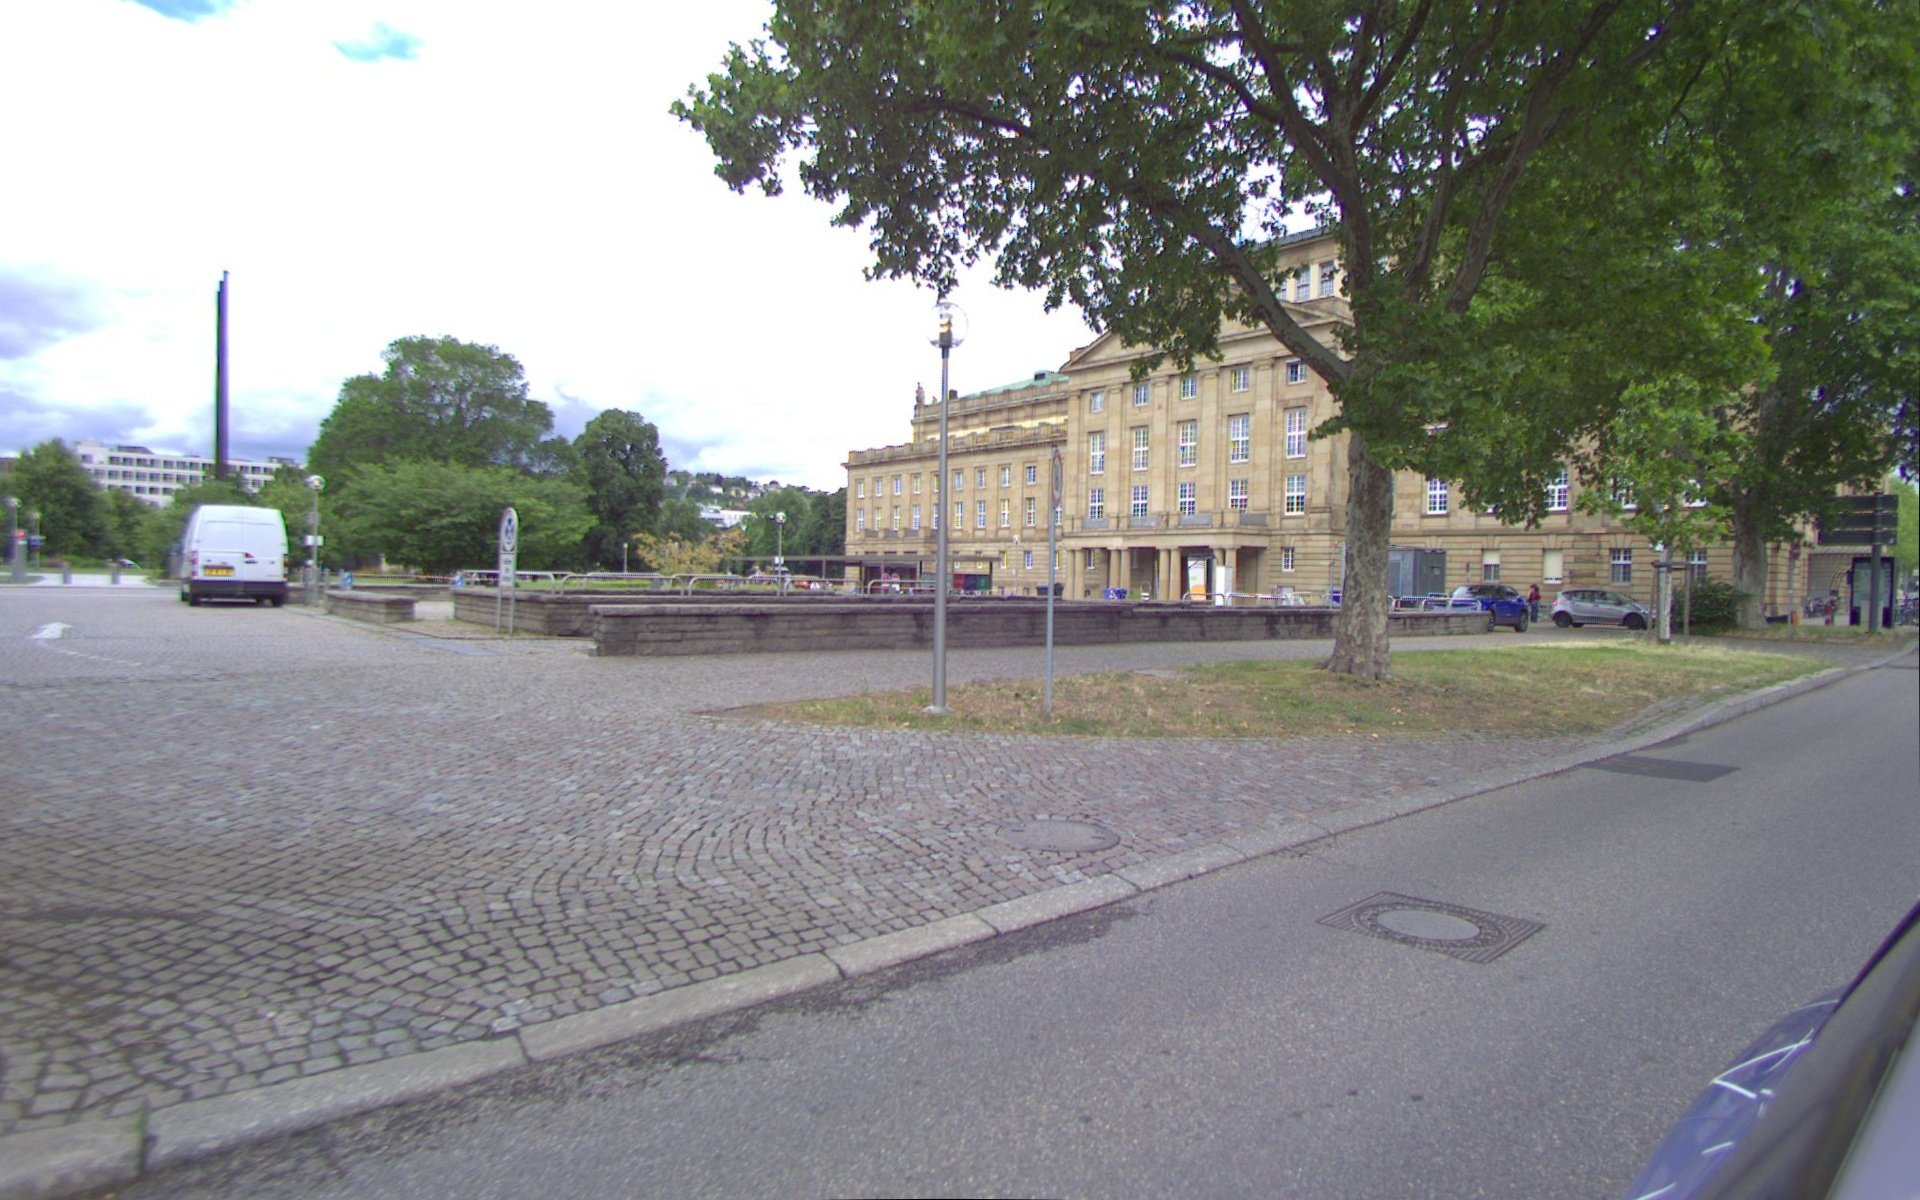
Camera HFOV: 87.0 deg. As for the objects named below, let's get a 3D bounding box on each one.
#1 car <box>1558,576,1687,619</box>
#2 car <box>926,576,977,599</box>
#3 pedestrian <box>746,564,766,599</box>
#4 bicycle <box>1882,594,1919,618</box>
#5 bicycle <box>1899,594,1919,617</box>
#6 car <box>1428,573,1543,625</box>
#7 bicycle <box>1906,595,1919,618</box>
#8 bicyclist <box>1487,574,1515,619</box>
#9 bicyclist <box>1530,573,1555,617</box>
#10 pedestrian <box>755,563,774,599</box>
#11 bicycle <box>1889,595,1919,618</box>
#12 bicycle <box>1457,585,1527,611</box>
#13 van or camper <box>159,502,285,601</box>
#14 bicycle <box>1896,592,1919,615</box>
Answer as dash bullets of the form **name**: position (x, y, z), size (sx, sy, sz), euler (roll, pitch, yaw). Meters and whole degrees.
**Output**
- **car**: position (26.412, -0.071, 40.450), size (1.705, 1.616, 3.993), euler (-1, 0, -41)
- **car**: position (-0.712, -0.983, 81.081), size (1.965, 1.738, 3.993), euler (-1, 0, -40)
- **pedestrian**: position (-11.764, -1.068, 58.456), size (0.800, 2.039, 0.858), euler (-2, 0, -37)
- **bicycle**: position (44.754, 0.292, 47.656), size (1.911, 1.112, 0.533), euler (2, 1, 42)
- **bicycle**: position (46.842, 0.281, 49.082), size (1.825, 1.085, 0.526), euler (1, 1, 30)
- **car**: position (16.934, -0.021, 32.552), size (4.141, 1.537, 1.768), euler (2, 0, -39)
- **bicycle**: position (46.360, 0.304, 48.242), size (1.833, 1.085, 0.524), euler (2, 1, 41)
- **bicyclist**: position (25.368, -0.166, 47.470), size (1.095, 2.039, 1.001), euler (1, 0, 31)
- **bicyclist**: position (27.678, -0.247, 48.114), size (0.868, 2.039, 0.837), euler (-1, 0, 23)
- **pedestrian**: position (-11.157, -1.085, 57.748), size (0.800, 2.039, 0.767), euler (-2, 0, -36)
- **bicycle**: position (45.325, 0.315, 48.011), size (1.834, 1.085, 0.610), euler (2, 1, 42)
- **bicycle**: position (25.060, -0.108, 47.704), size (2.824, 1.199, 1.085), euler (1, 1, 33)
- **van or camper**: position (-19.720, -1.220, 26.931), size (2.280, 2.348, 5.708), euler (-2, 2, -40)
- **bicycle**: position (47.861, 0.192, 50.237), size (1.920, 1.147, 0.535), euler (1, 1, 30)
